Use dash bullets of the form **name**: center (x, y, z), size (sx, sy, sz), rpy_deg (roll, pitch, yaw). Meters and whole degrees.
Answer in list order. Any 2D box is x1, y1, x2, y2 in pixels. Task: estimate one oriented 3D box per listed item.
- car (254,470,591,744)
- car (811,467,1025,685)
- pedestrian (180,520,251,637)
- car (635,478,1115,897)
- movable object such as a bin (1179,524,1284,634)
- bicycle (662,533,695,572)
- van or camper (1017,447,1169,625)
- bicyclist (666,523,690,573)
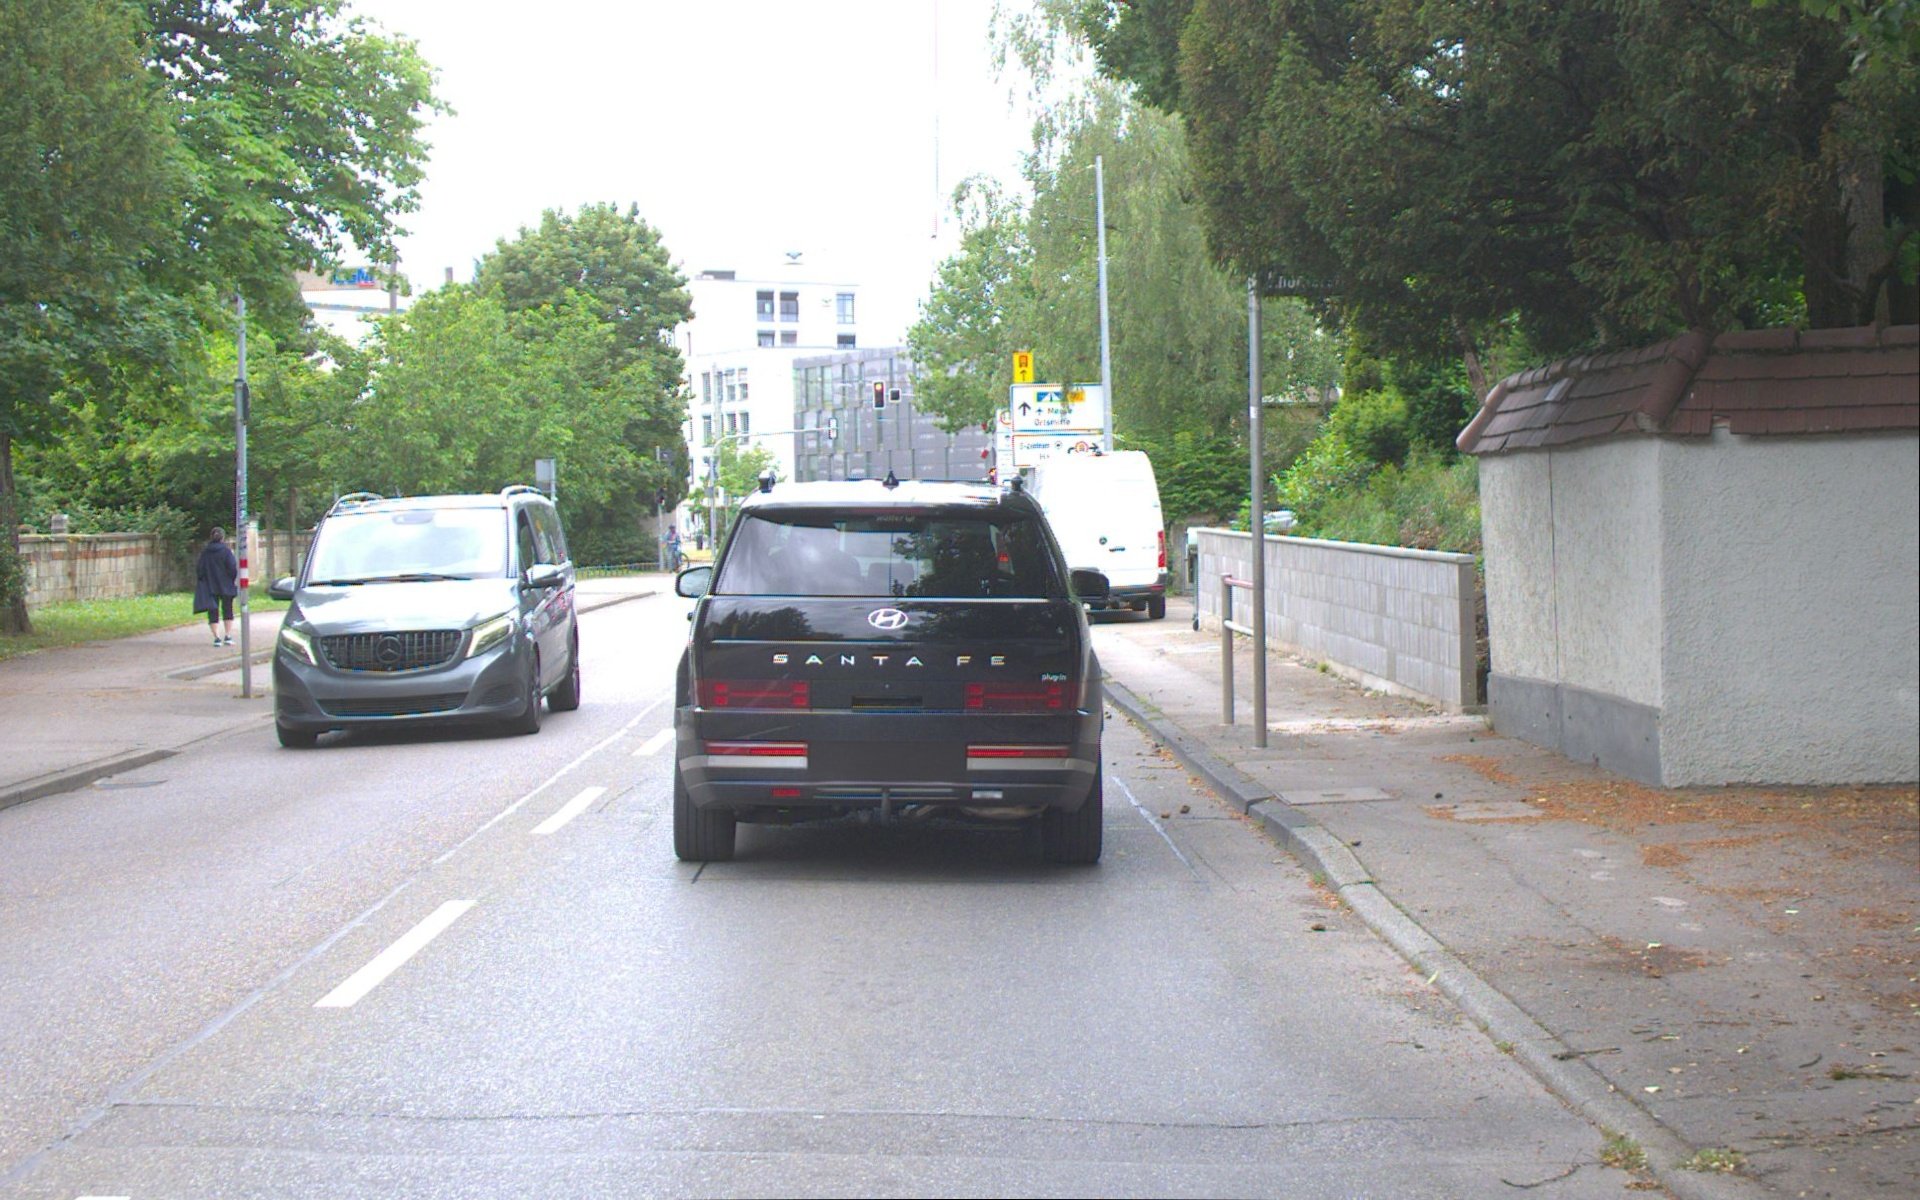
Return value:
- **car**: center (-4.123, 0.001, 27.195), size (1.890, 1.849, 5.084), rpy_deg (-4, 1, -2)
- **car**: center (-0.433, -0.267, 34.019), size (1.963, 1.994, 4.000), rpy_deg (1, 1, -1)
- **pedestrian**: center (-10.219, -0.303, 47.196), size (0.748, 1.572, 0.967), rpy_deg (1, 1, -1)
- **car**: center (-0.368, 0.319, 16.251), size (1.963, 1.705, 4.000), rpy_deg (1, 1, 0)
- **movable object such as a bin**: center (3.674, -0.294, 46.674), size (1.299, 1.445, 1.181), rpy_deg (-1, 1, 0)
- **bicycle**: center (-9.595, -1.602, 117.042), size (0.675, 1.275, 2.502), rpy_deg (1, 0, -14)
- **van or camper**: center (2.073, -1.044, 55.530), size (1.963, 2.619, 6.359), rpy_deg (-2, 1, -1)
- **bicyclist**: center (-9.604, -1.775, 117.069), size (0.675, 1.653, 0.859), rpy_deg (1, -1, -14)
